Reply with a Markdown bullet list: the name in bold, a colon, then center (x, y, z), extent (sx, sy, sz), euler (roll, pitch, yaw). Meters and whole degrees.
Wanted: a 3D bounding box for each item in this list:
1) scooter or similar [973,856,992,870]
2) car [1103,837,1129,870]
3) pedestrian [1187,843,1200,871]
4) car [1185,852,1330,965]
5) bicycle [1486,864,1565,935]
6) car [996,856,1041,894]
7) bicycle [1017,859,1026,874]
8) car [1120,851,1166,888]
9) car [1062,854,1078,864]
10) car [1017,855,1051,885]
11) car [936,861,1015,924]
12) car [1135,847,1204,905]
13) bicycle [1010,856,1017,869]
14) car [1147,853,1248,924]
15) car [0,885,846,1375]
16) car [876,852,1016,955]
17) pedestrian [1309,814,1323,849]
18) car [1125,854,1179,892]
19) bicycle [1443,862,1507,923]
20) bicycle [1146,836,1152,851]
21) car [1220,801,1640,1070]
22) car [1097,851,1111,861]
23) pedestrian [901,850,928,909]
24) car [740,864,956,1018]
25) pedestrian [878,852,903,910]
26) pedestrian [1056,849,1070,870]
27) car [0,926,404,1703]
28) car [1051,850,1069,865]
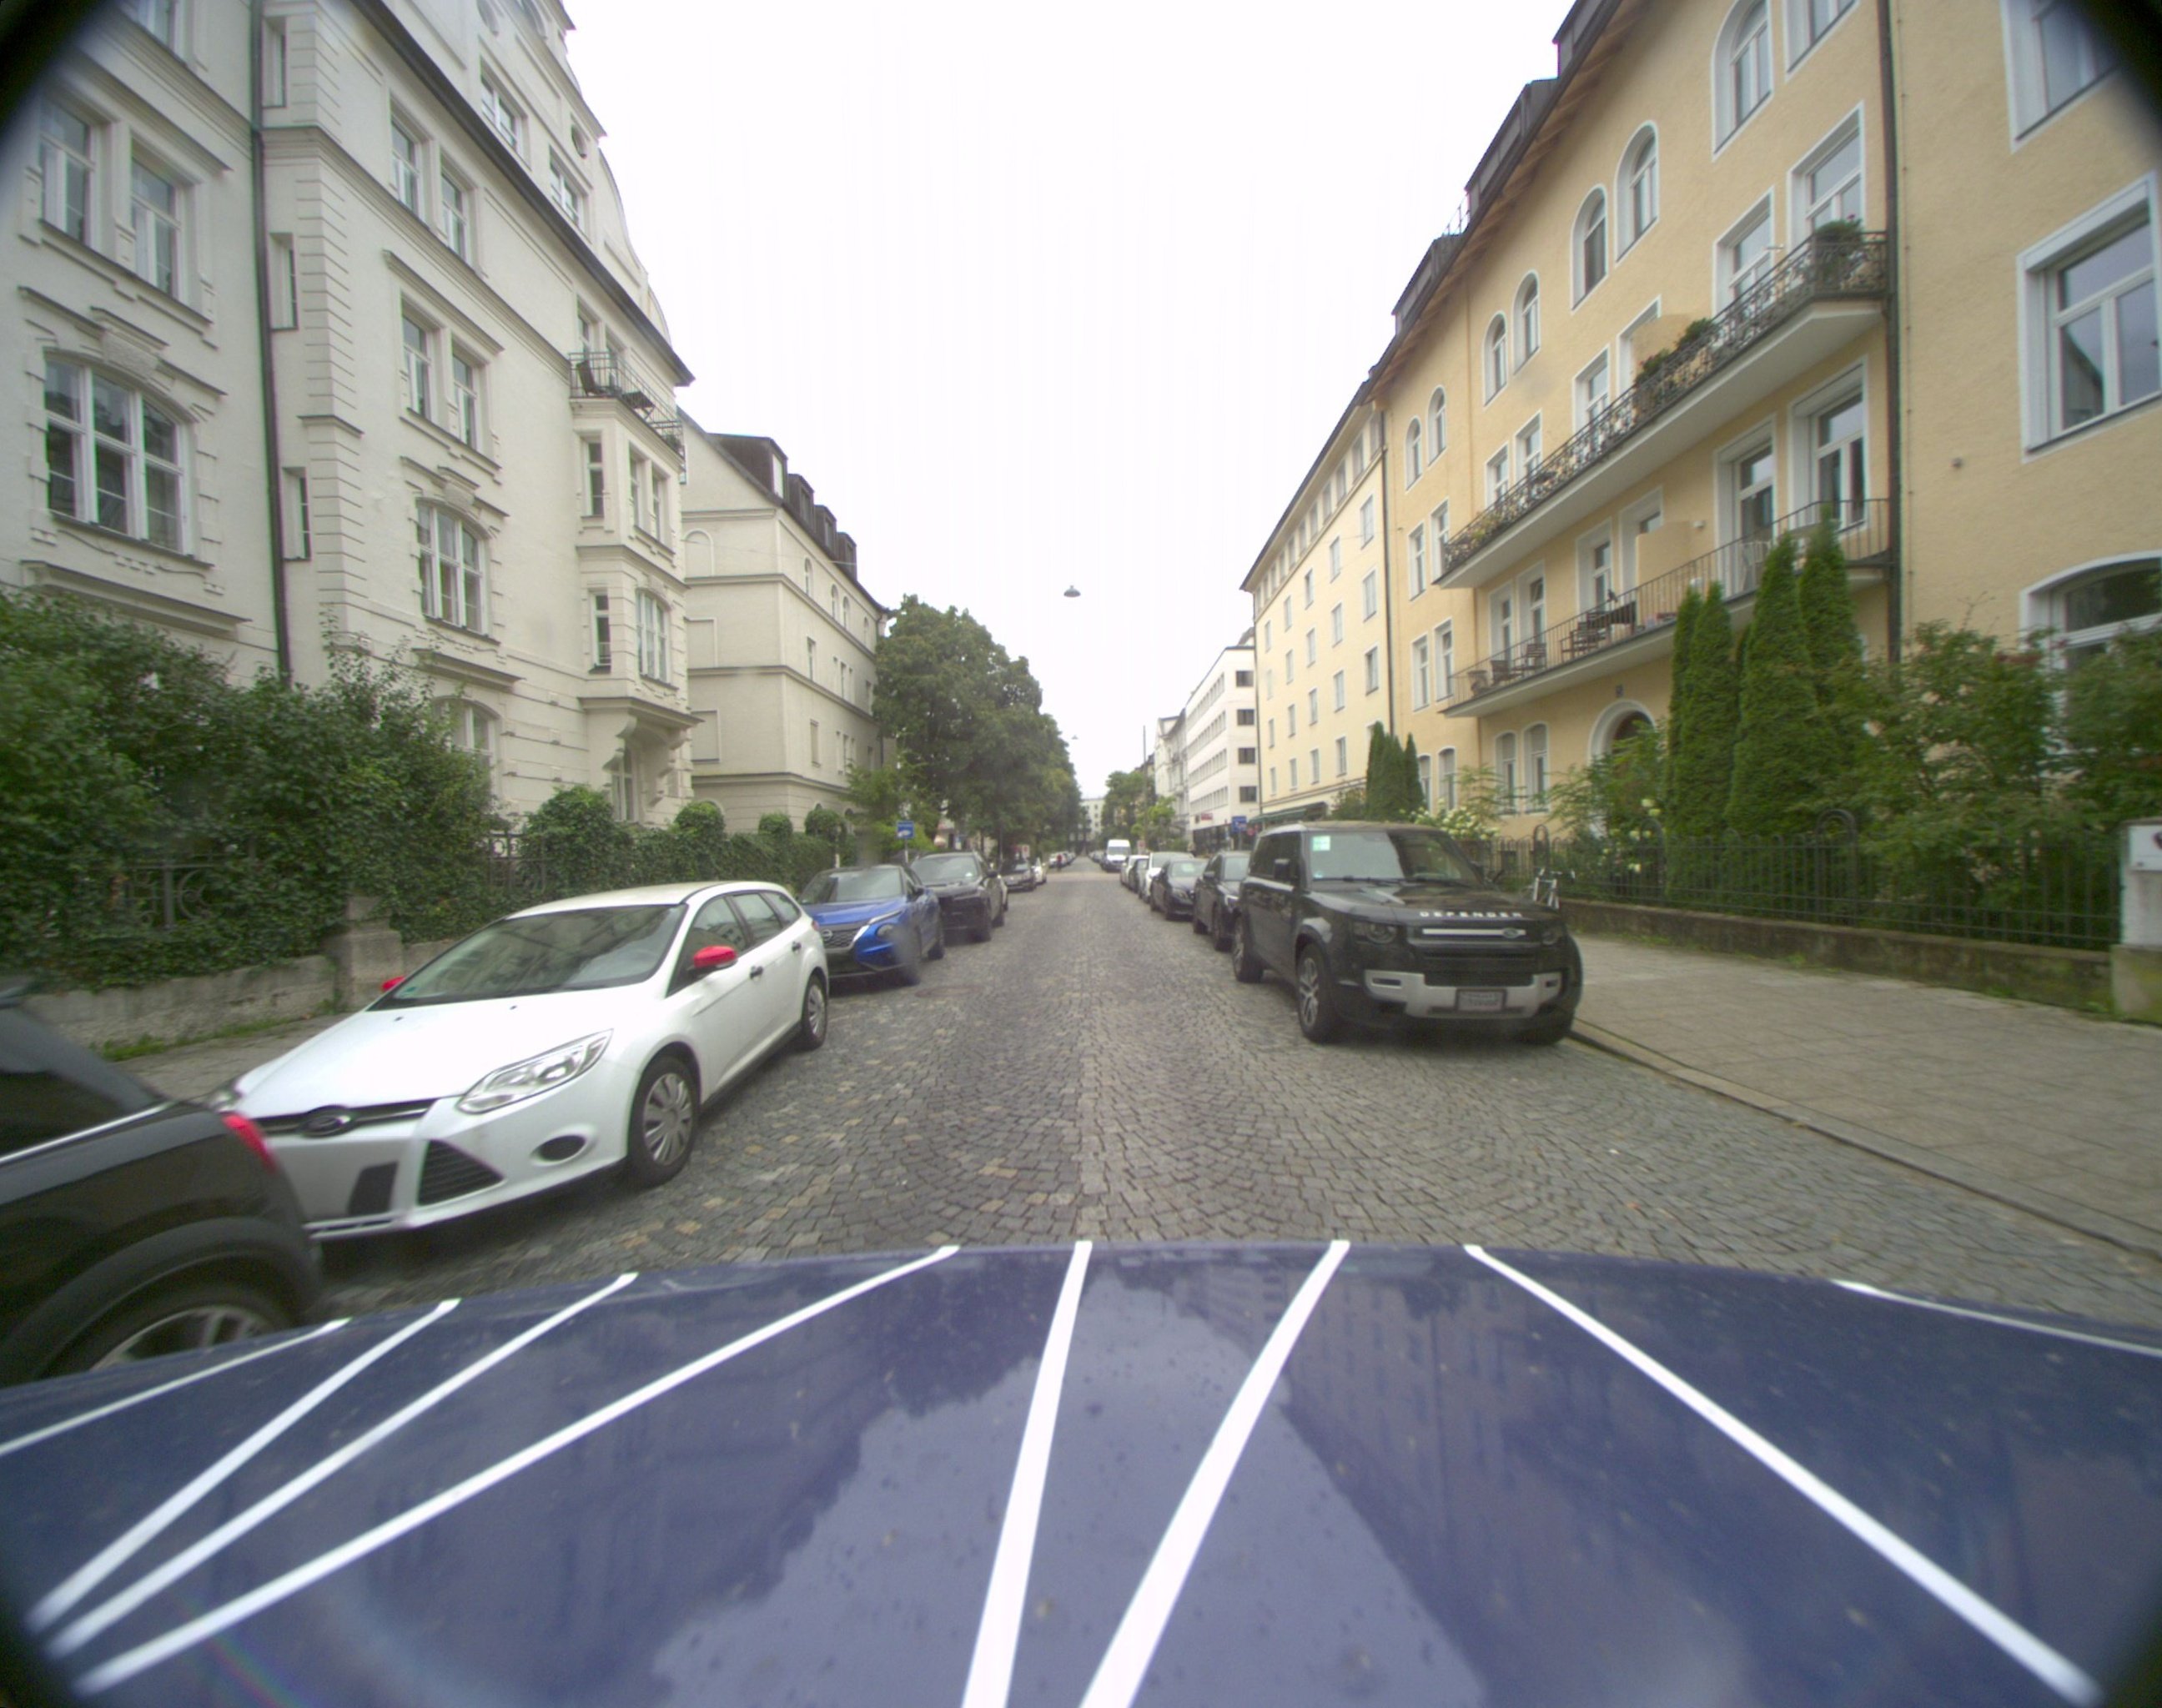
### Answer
- **scooter or similar**: center (-8.423, 0.774, 65.250), extent (1.604, 1.166, 0.405), euler (-1, 2, 24)
- **car**: center (2.835, -0.074, 61.405), extent (1.982, 2.559, 5.794), euler (0, 1, 2)
- **pedestrian**: center (7.694, 0.196, 52.073), extent (0.615, 1.830, 0.813), euler (-2, 1, -6)
- **car**: center (2.848, 0.791, 13.072), extent (1.583, 1.581, 4.055), euler (0, 1, 1)
- **bicycle**: center (7.080, 0.695, 12.181), extent (0.353, 0.997, 1.572), euler (-3, 1, 2)
- **car**: center (-2.835, 0.930, 35.395), extent (1.652, 1.414, 4.631), euler (-6, 1, -1)
- **bicycle**: center (-4.972, 1.051, 63.538), extent (0.389, 1.140, 1.590), euler (-2, 1, 7)
- **car**: center (2.909, 0.695, 36.399), extent (1.778, 1.527, 4.540), euler (-3, 1, 0)
- **car**: center (-1.482, 0.640, 102.624), extent (1.924, 1.290, 4.807), euler (-2, 0, -3)
- **car**: center (-2.562, 0.841, 41.834), extent (1.505, 1.462, 3.795), euler (-2, 1, 1)
- **car**: center (-2.923, 1.028, 21.723), extent (1.634, 1.461, 3.658), euler (-5, 1, 0)
- **car**: center (2.846, 0.641, 25.192), extent (1.778, 1.638, 4.390), euler (-3, 1, 1)
- **bicycle**: center (-6.536, 0.807, 73.139), extent (0.428, 1.191, 1.730), euler (3, 1, 1)
- **car**: center (2.742, 0.754, 18.828), extent (1.778, 1.421, 4.390), euler (-3, 1, 0)
- **car**: center (-3.011, 1.065, 4.909), extent (1.778, 1.421, 4.389), euler (-3, 1, -3)
- **car**: center (-2.620, 0.867, 16.138), extent (1.879, 1.663, 5.490), euler (-3, 1, 0)
- **pedestrian**: center (11.201, -1.078, 36.285), extent (0.478, 1.633, 0.497), euler (-3, 1, 4)
- **car**: center (2.886, 0.733, 31.665), extent (1.778, 1.352, 4.390), euler (-3, 1, 0)
- **bicycle**: center (7.152, 0.671, 13.854), extent (0.353, 0.997, 1.572), euler (-3, 1, 2)
- **bicycle**: center (5.366, -0.825, 59.973), extent (0.256, 1.120, 1.806), euler (-3, 1, 0)
- **car**: center (2.782, 0.552, 7.486), extent (1.987, 1.727, 4.722), euler (-3, 0, 1)
- **car**: center (3.454, 0.340, 115.387), extent (1.886, 1.411, 4.808), euler (-2, 0, -1)
- **pedestrian**: center (-5.366, 0.822, 24.495), extent (0.577, 1.839, 0.682), euler (-2, 1, 8)
- **car**: center (-2.938, 0.992, 10.579), extent (1.713, 1.473, 4.248), euler (-5, 1, -2)
- **pedestrian**: center (-6.135, 0.864, 24.442), extent (0.630, 1.798, 0.659), euler (-3, 1, -20)
- **pedestrian**: center (-1.538, 0.437, 66.116), extent (1.105, 1.768, 1.263), euler (-3, 1, 1)
- **car**: center (-3.018, 1.029, 0.393), extent (1.687, 1.444, 3.965), euler (-4, 1, 0)
- **car**: center (-2.469, 0.408, 90.587), extent (1.925, 1.676, 4.633), euler (-2, 1, 1)
